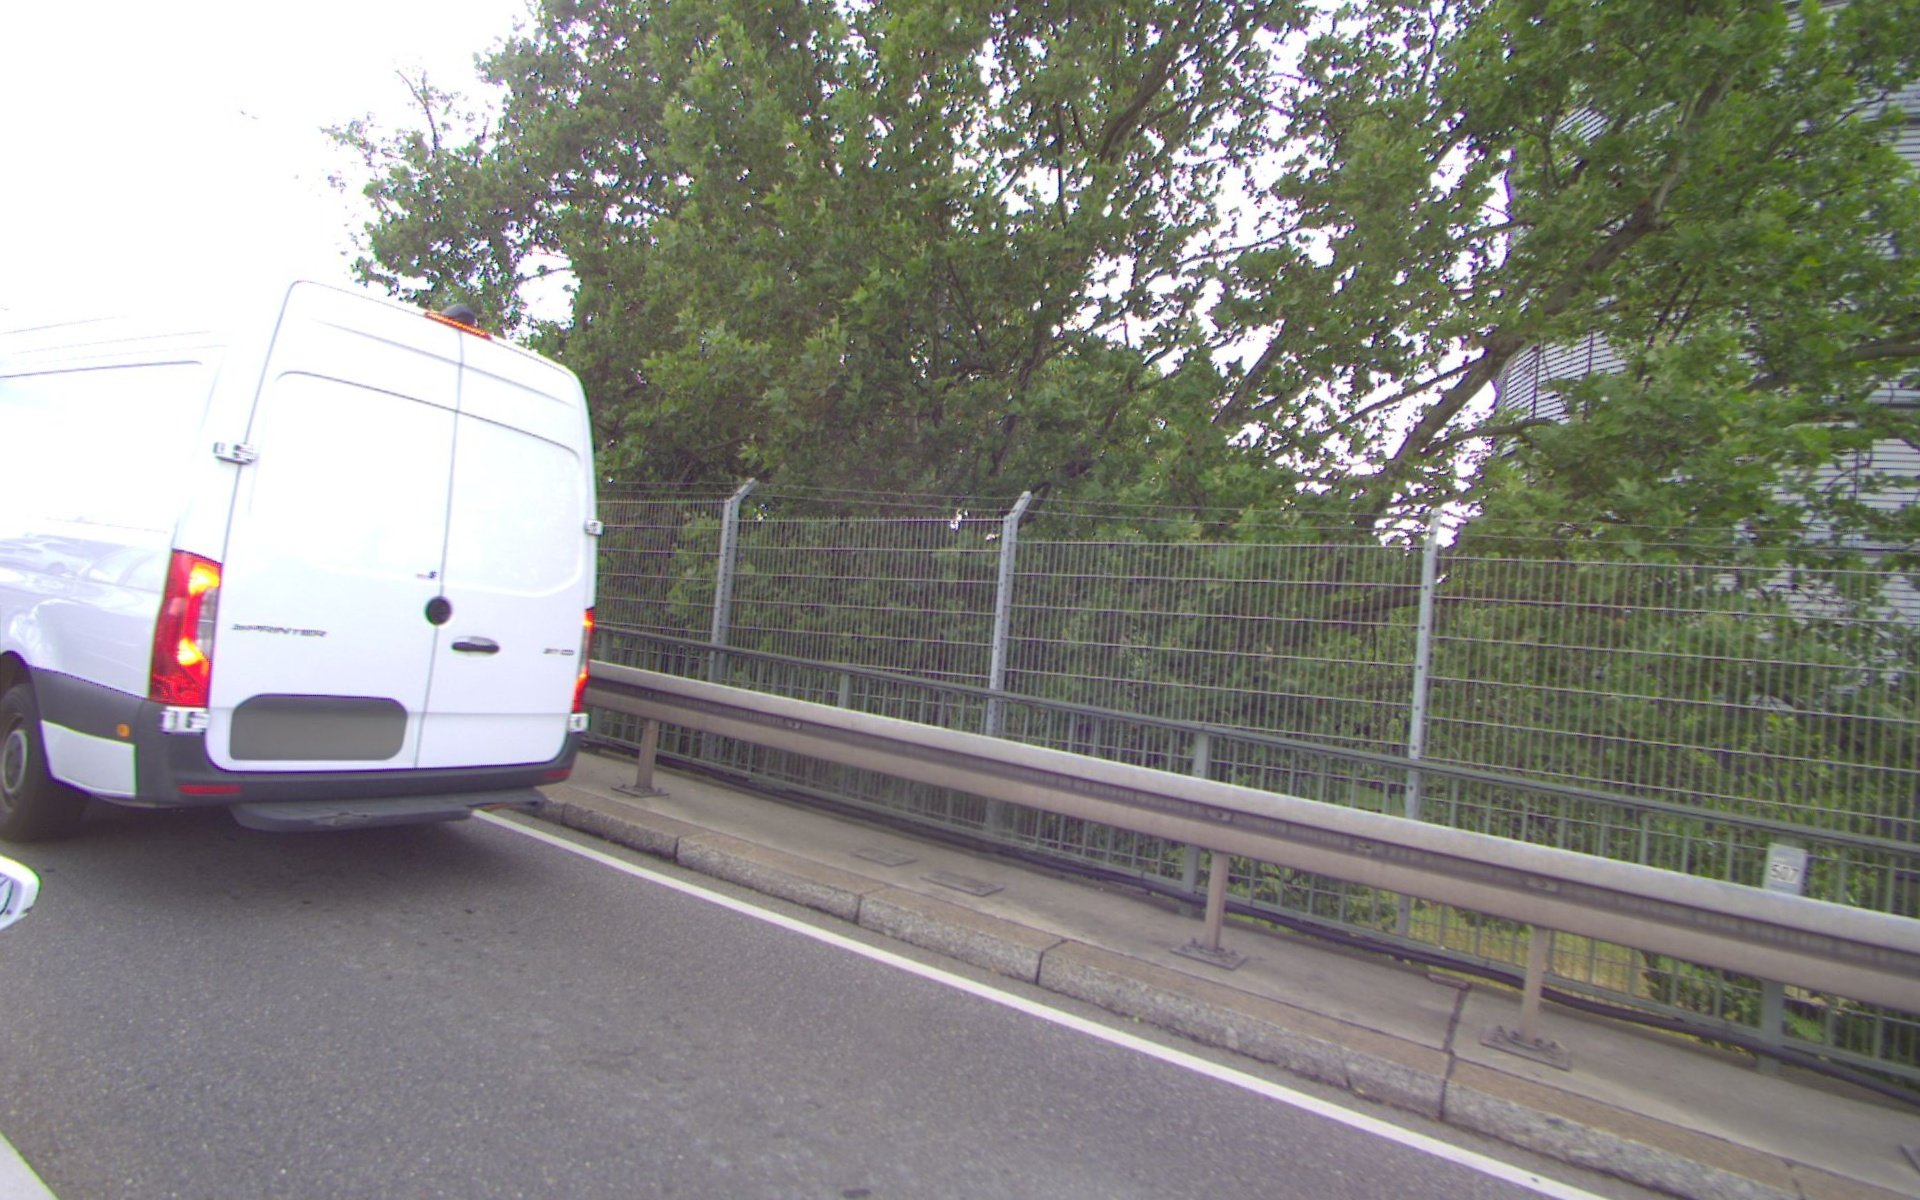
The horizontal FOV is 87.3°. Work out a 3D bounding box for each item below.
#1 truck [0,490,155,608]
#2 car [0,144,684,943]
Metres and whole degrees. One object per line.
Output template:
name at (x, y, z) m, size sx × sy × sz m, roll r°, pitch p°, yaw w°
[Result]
truck at (-34.522, -2.200, 34.576) m, size 10.097 × 3.560 × 2.789 m, roll 8°, pitch -1°, yaw -17°
car at (-4.986, -0.451, 6.195) m, size 6.667 × 2.817 × 2.113 m, roll 7°, pitch -1°, yaw 32°
